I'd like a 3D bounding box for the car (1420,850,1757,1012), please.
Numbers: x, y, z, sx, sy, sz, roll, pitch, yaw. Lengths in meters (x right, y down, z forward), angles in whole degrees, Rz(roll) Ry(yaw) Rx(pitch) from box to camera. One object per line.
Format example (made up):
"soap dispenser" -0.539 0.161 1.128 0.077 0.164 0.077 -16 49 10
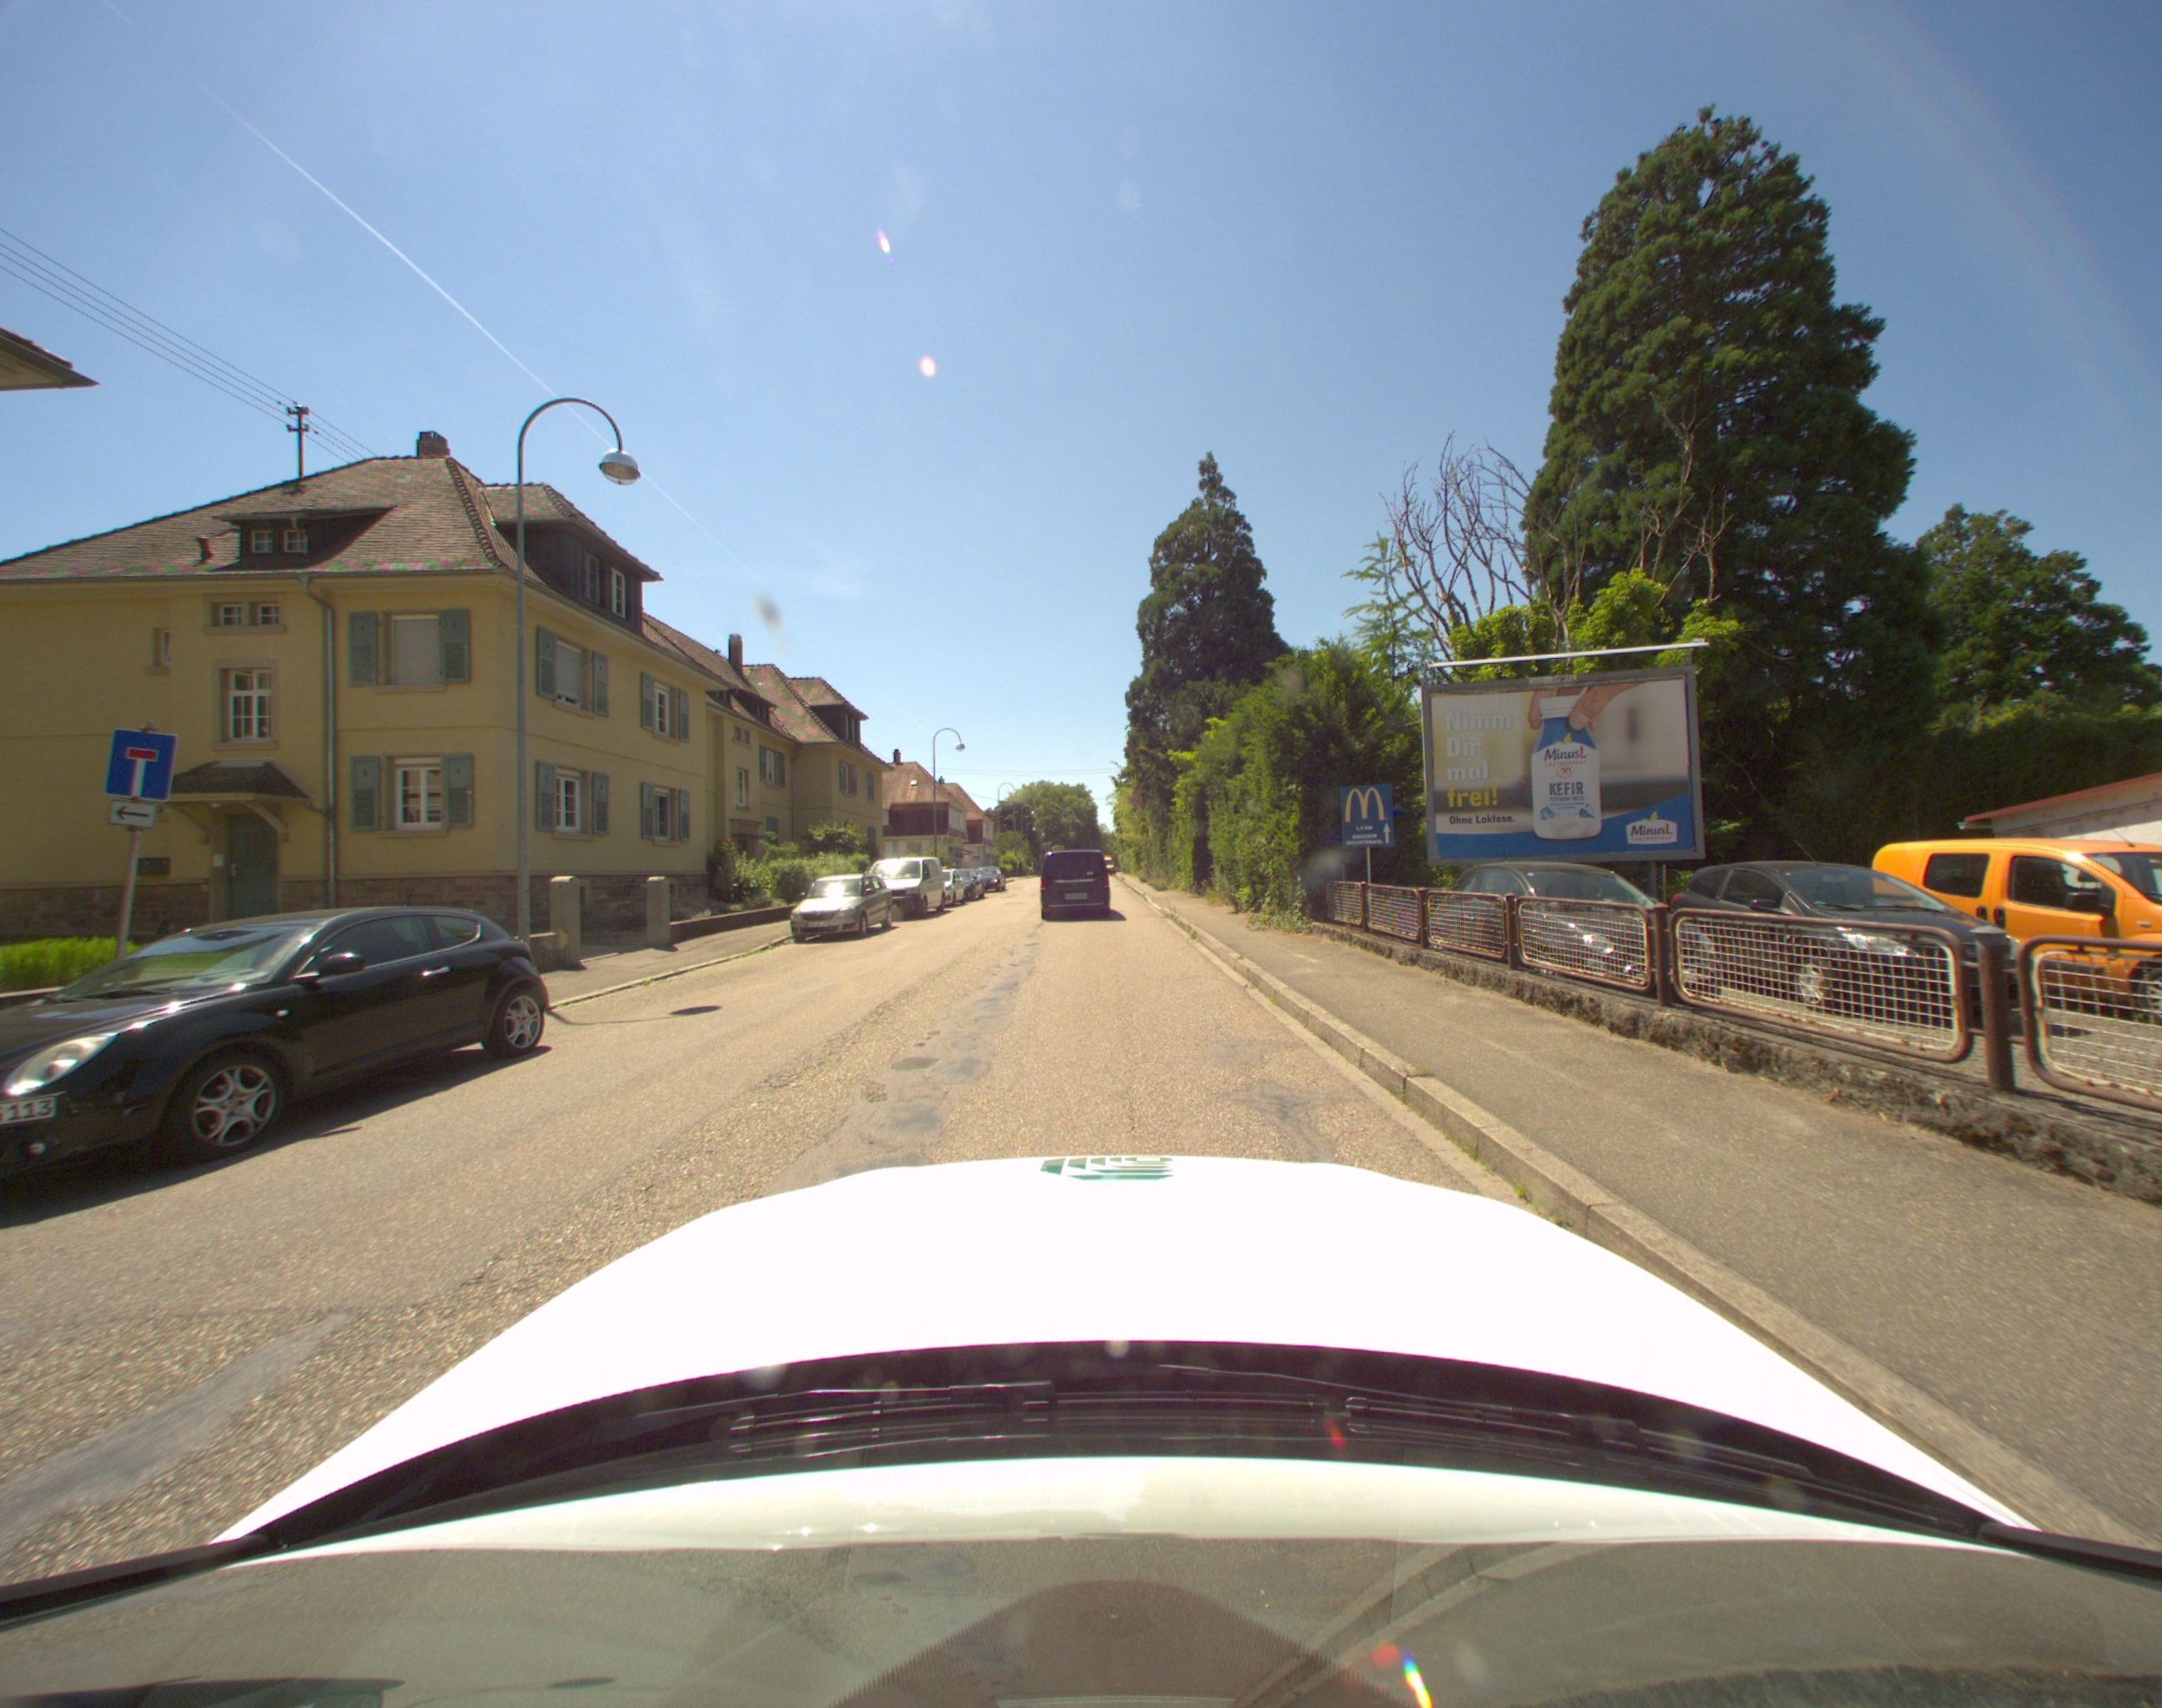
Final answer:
"car" 5.453 0.740 9.327 1.626 1.459 3.555 2 -1 -1

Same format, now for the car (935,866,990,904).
"car" -5.248 1.333 36.577 1.660 1.493 4.466 -2 0 1

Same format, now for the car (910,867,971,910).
"car" -5.445 1.297 31.966 1.660 1.492 3.478 -3 -1 1

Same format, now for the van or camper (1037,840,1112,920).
"van or camper" -0.108 0.704 23.526 1.896 2.014 5.271 -1 -1 1

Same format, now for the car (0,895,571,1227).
"car" -5.956 1.170 6.039 1.710 1.485 4.075 -4 -1 0

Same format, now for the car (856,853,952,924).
"car" -5.592 1.028 26.353 1.871 1.963 4.626 -4 -1 1

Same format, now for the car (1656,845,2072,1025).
"car" 8.138 0.740 8.939 1.622 1.543 3.400 1 -1 8

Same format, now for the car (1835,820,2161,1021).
"car" 10.594 0.634 8.429 1.768 1.800 4.165 2 -1 1

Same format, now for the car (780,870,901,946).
"car" -5.803 1.234 20.154 1.681 1.525 4.061 -4 -1 0

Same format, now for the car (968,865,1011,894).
"car" -5.067 1.410 45.758 1.659 1.386 4.382 -4 -1 2

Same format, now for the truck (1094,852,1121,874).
"truck" 2.852 1.001 88.821 2.350 2.258 6.085 -2 -1 -3
